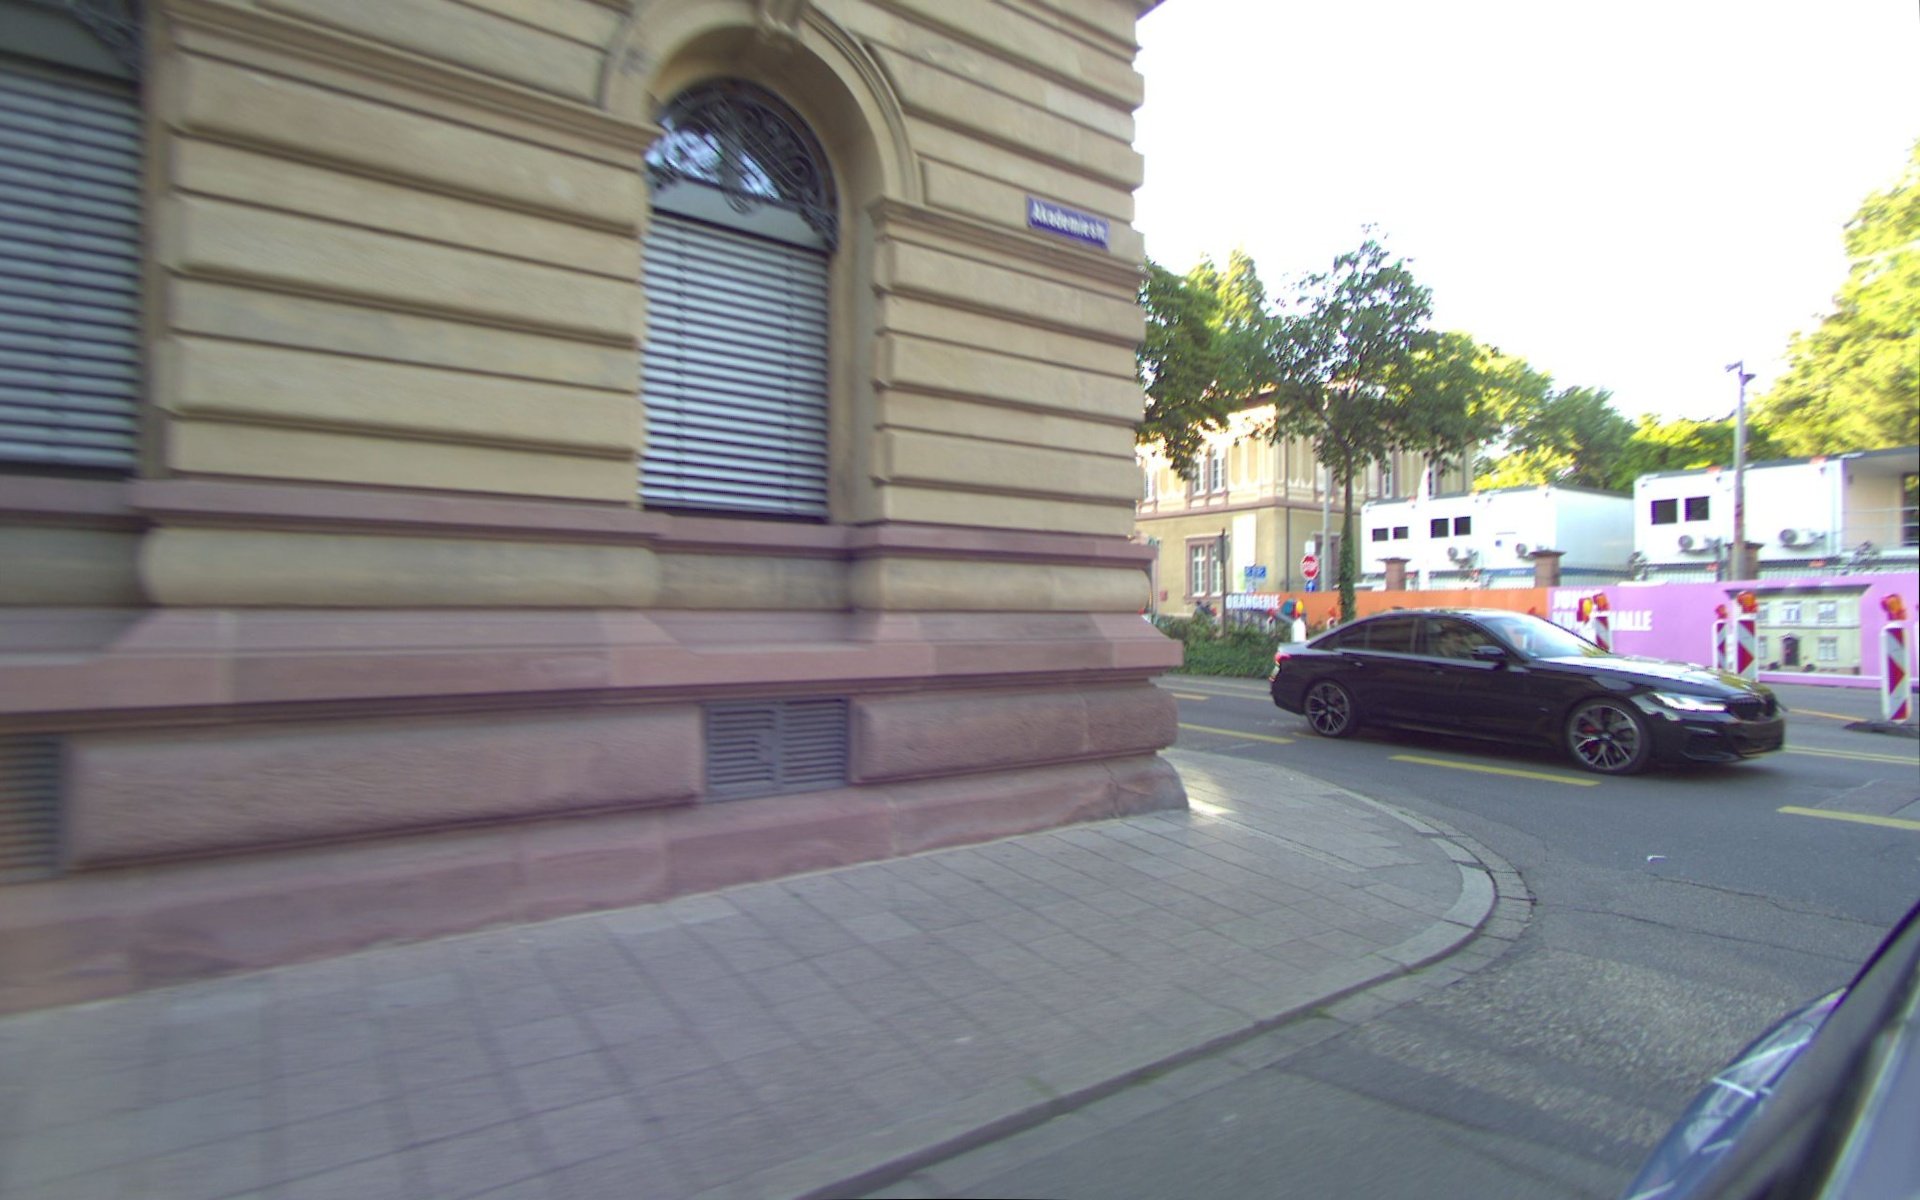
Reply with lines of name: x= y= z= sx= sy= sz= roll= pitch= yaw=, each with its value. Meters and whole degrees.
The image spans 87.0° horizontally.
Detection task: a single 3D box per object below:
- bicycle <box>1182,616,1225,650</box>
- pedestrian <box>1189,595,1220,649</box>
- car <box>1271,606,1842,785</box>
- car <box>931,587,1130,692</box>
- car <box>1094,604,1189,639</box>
bicycle: x=7.791 y=1.044 z=32.446 sx=0.748 sy=1.051 sz=2.121 roll=0 pitch=-1 yaw=-3
pedestrian: x=7.792 y=0.706 z=32.312 sx=0.723 sy=1.695 sz=0.895 roll=0 pitch=-1 yaw=-2
car: x=5.746 y=0.767 z=10.509 sx=1.926 sy=1.404 sz=4.785 roll=0 pitch=0 yaw=-30
car: x=1.179 y=0.655 z=19.010 sx=1.802 sy=1.705 sz=4.229 roll=-1 pitch=0 yaw=-26
car: x=7.504 y=0.891 z=42.056 sx=1.652 sy=1.368 sz=3.887 roll=2 pitch=-2 yaw=-34
